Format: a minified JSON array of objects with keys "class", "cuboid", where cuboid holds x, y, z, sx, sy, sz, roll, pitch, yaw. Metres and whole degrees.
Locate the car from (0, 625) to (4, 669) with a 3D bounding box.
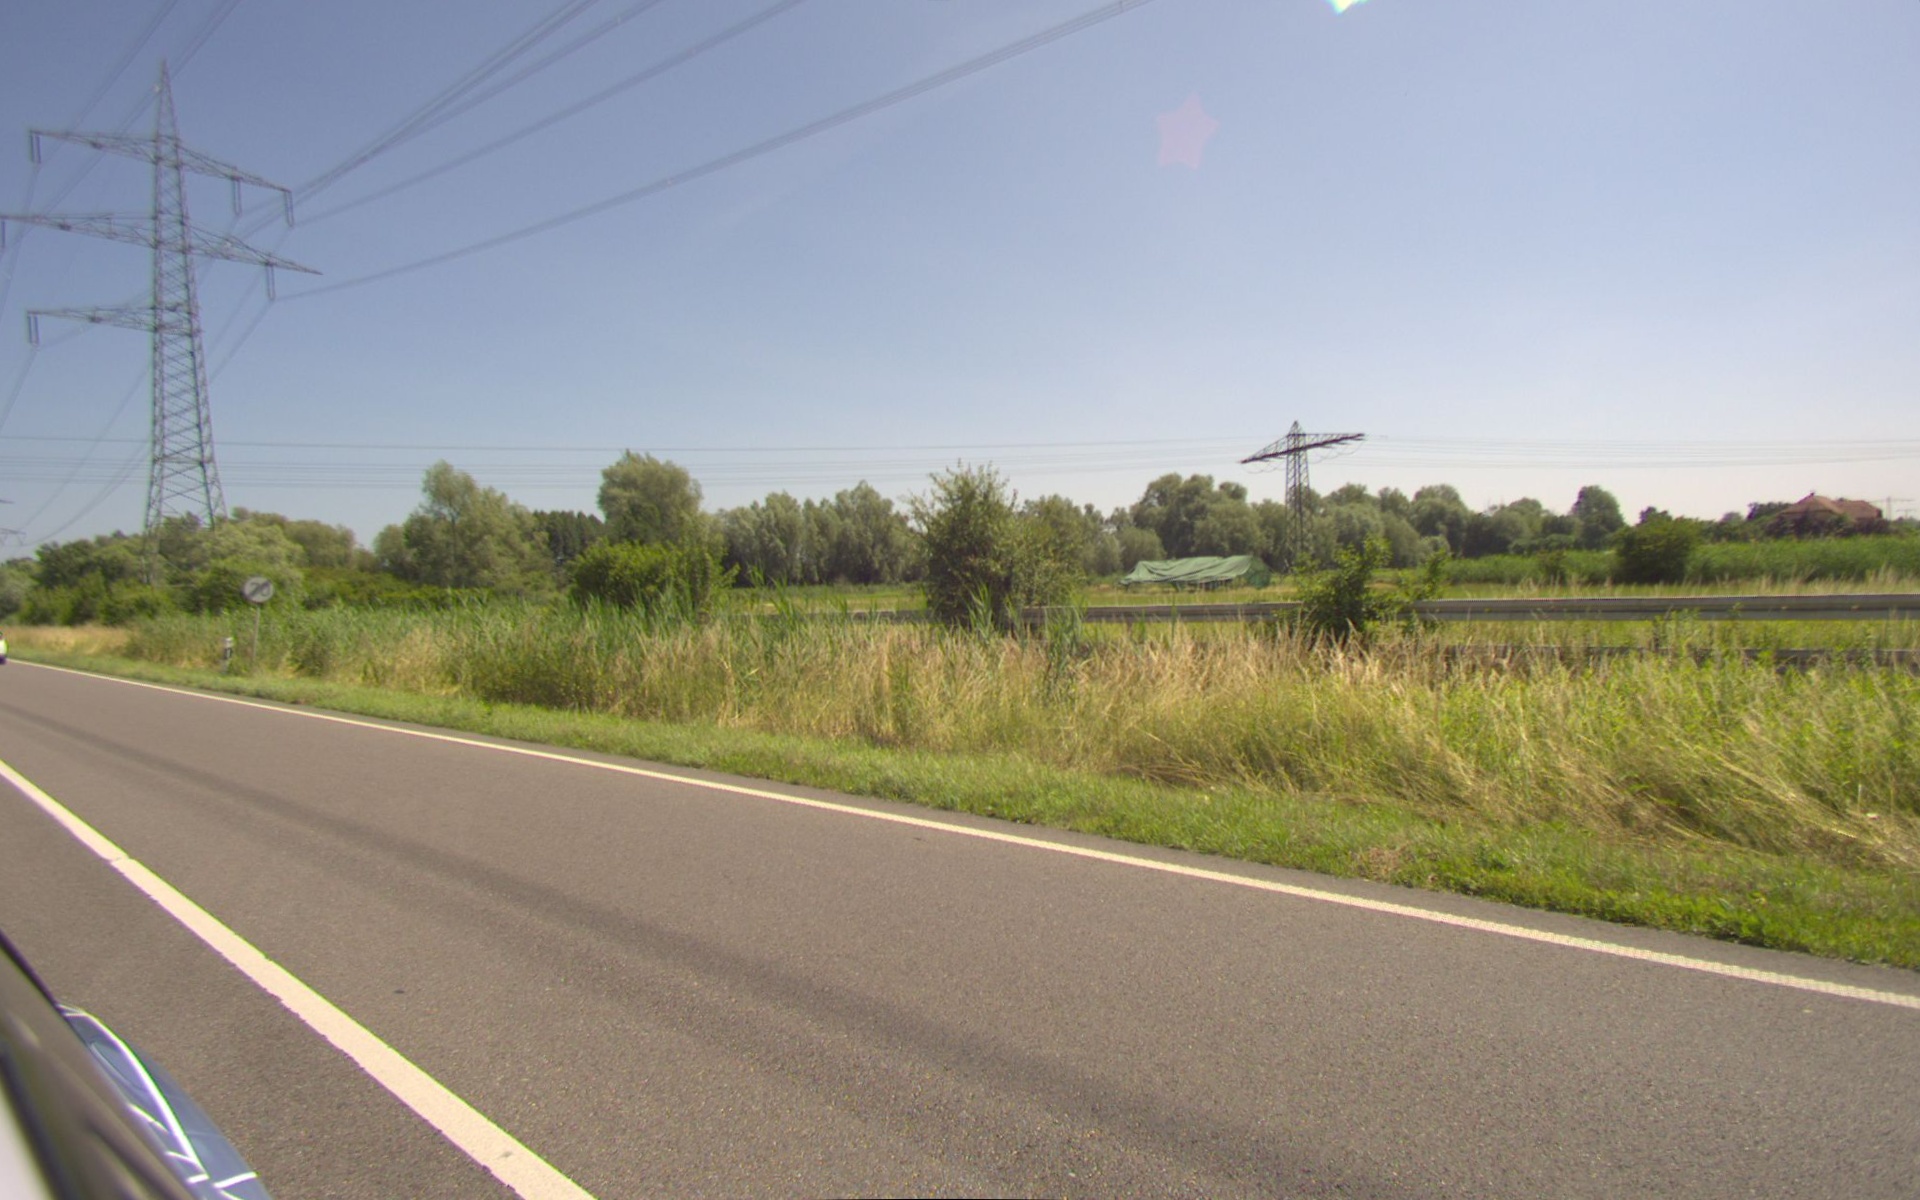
[{"class":"car","cuboid":[-34.224,1.625,34.762,4.248,1.452,1.706,-2,0,43]}]
